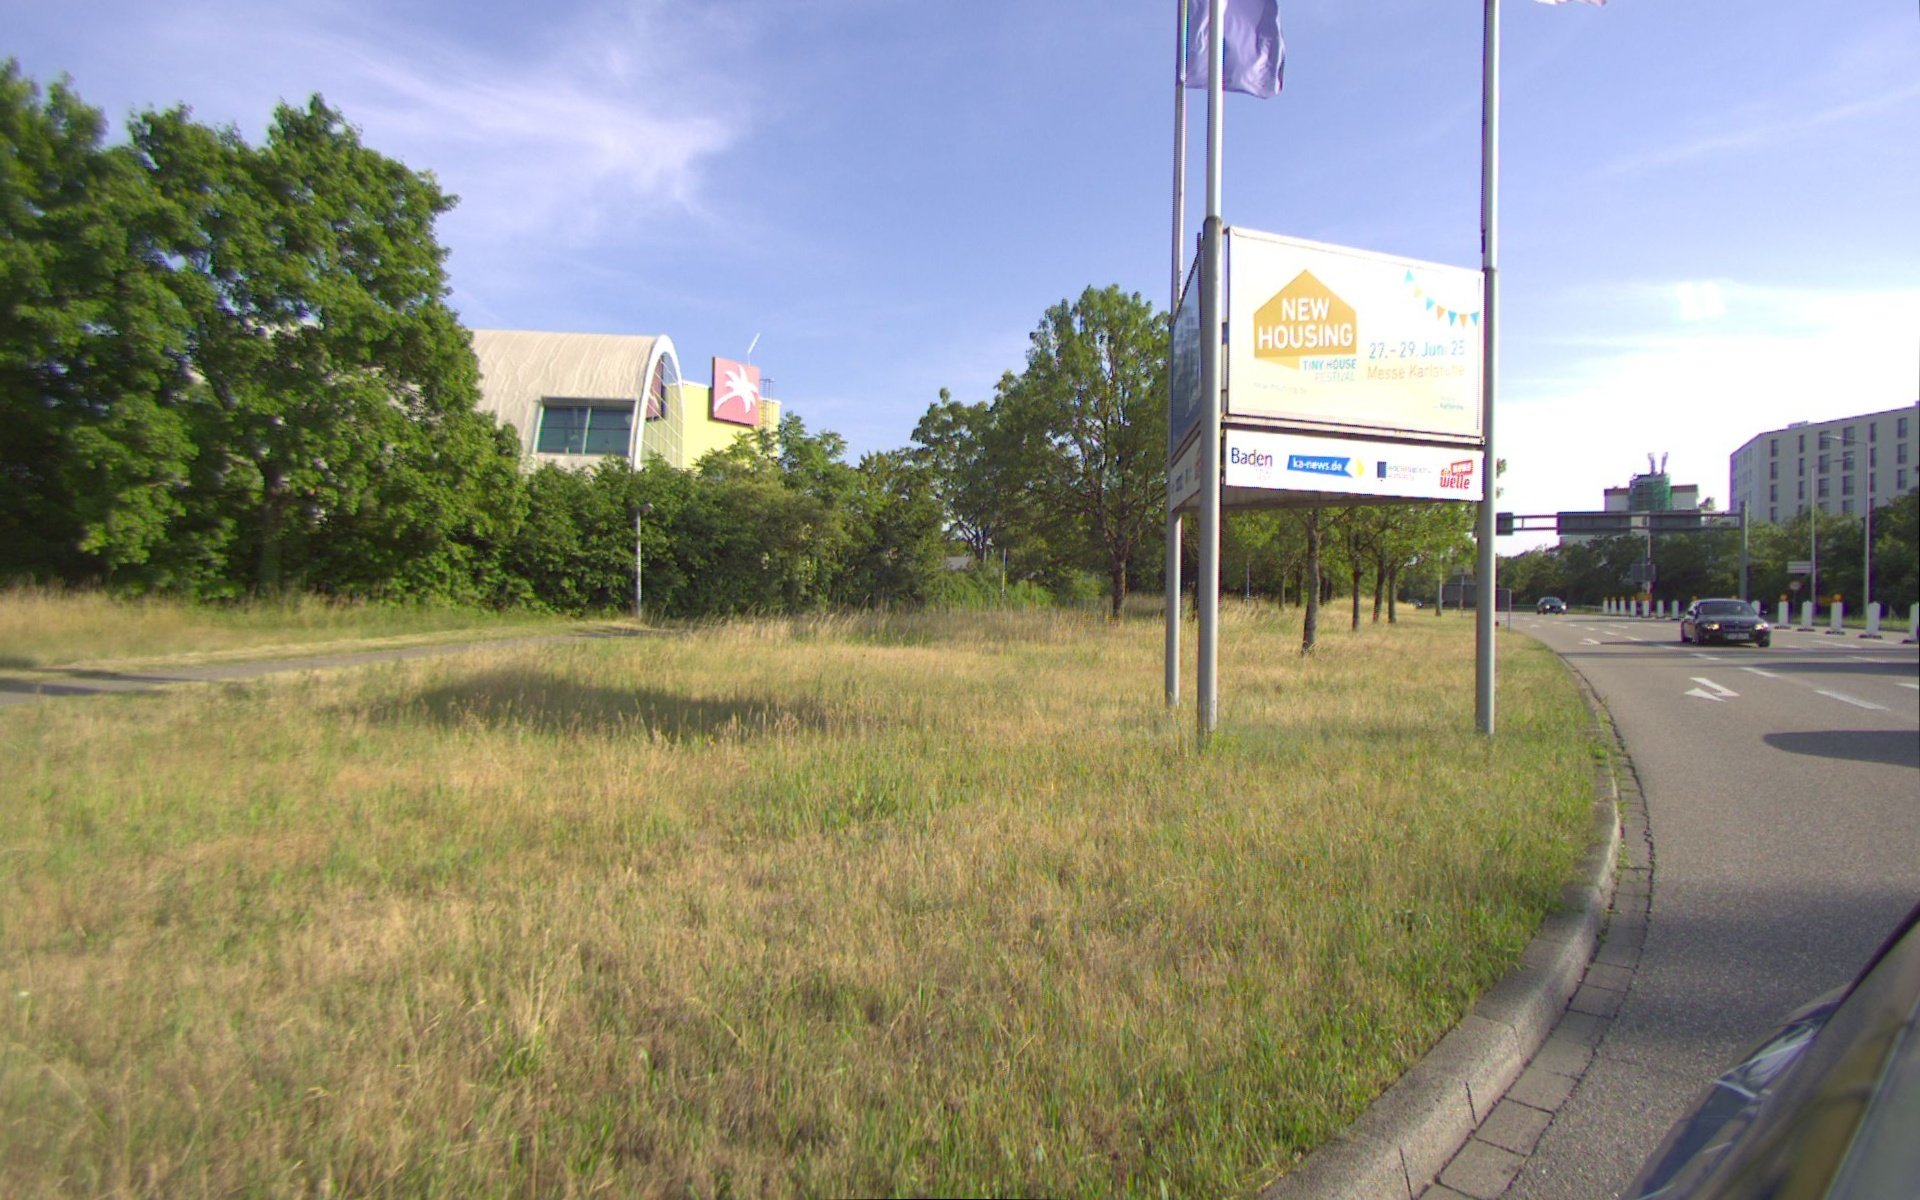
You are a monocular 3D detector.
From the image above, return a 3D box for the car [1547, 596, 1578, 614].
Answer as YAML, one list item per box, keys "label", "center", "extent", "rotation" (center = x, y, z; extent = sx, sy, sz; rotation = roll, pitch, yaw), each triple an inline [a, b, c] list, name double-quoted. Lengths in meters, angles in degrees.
- label: "car"
  center: [52.540, 0.382, 88.284]
  extent: [1.876, 1.474, 3.876]
  rotation: [1, 1, 25]

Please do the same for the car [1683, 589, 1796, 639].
- label: "car"
  center: [23.710, 0.412, 30.949]
  extent: [1.884, 1.403, 4.315]
  rotation: [-1, -1, 27]

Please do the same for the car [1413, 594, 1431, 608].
- label: "car"
  center: [68.667, 0.150, 150.539]
  extent: [1.836, 2.039, 4.157]
  rotation: [-1, 0, 16]
